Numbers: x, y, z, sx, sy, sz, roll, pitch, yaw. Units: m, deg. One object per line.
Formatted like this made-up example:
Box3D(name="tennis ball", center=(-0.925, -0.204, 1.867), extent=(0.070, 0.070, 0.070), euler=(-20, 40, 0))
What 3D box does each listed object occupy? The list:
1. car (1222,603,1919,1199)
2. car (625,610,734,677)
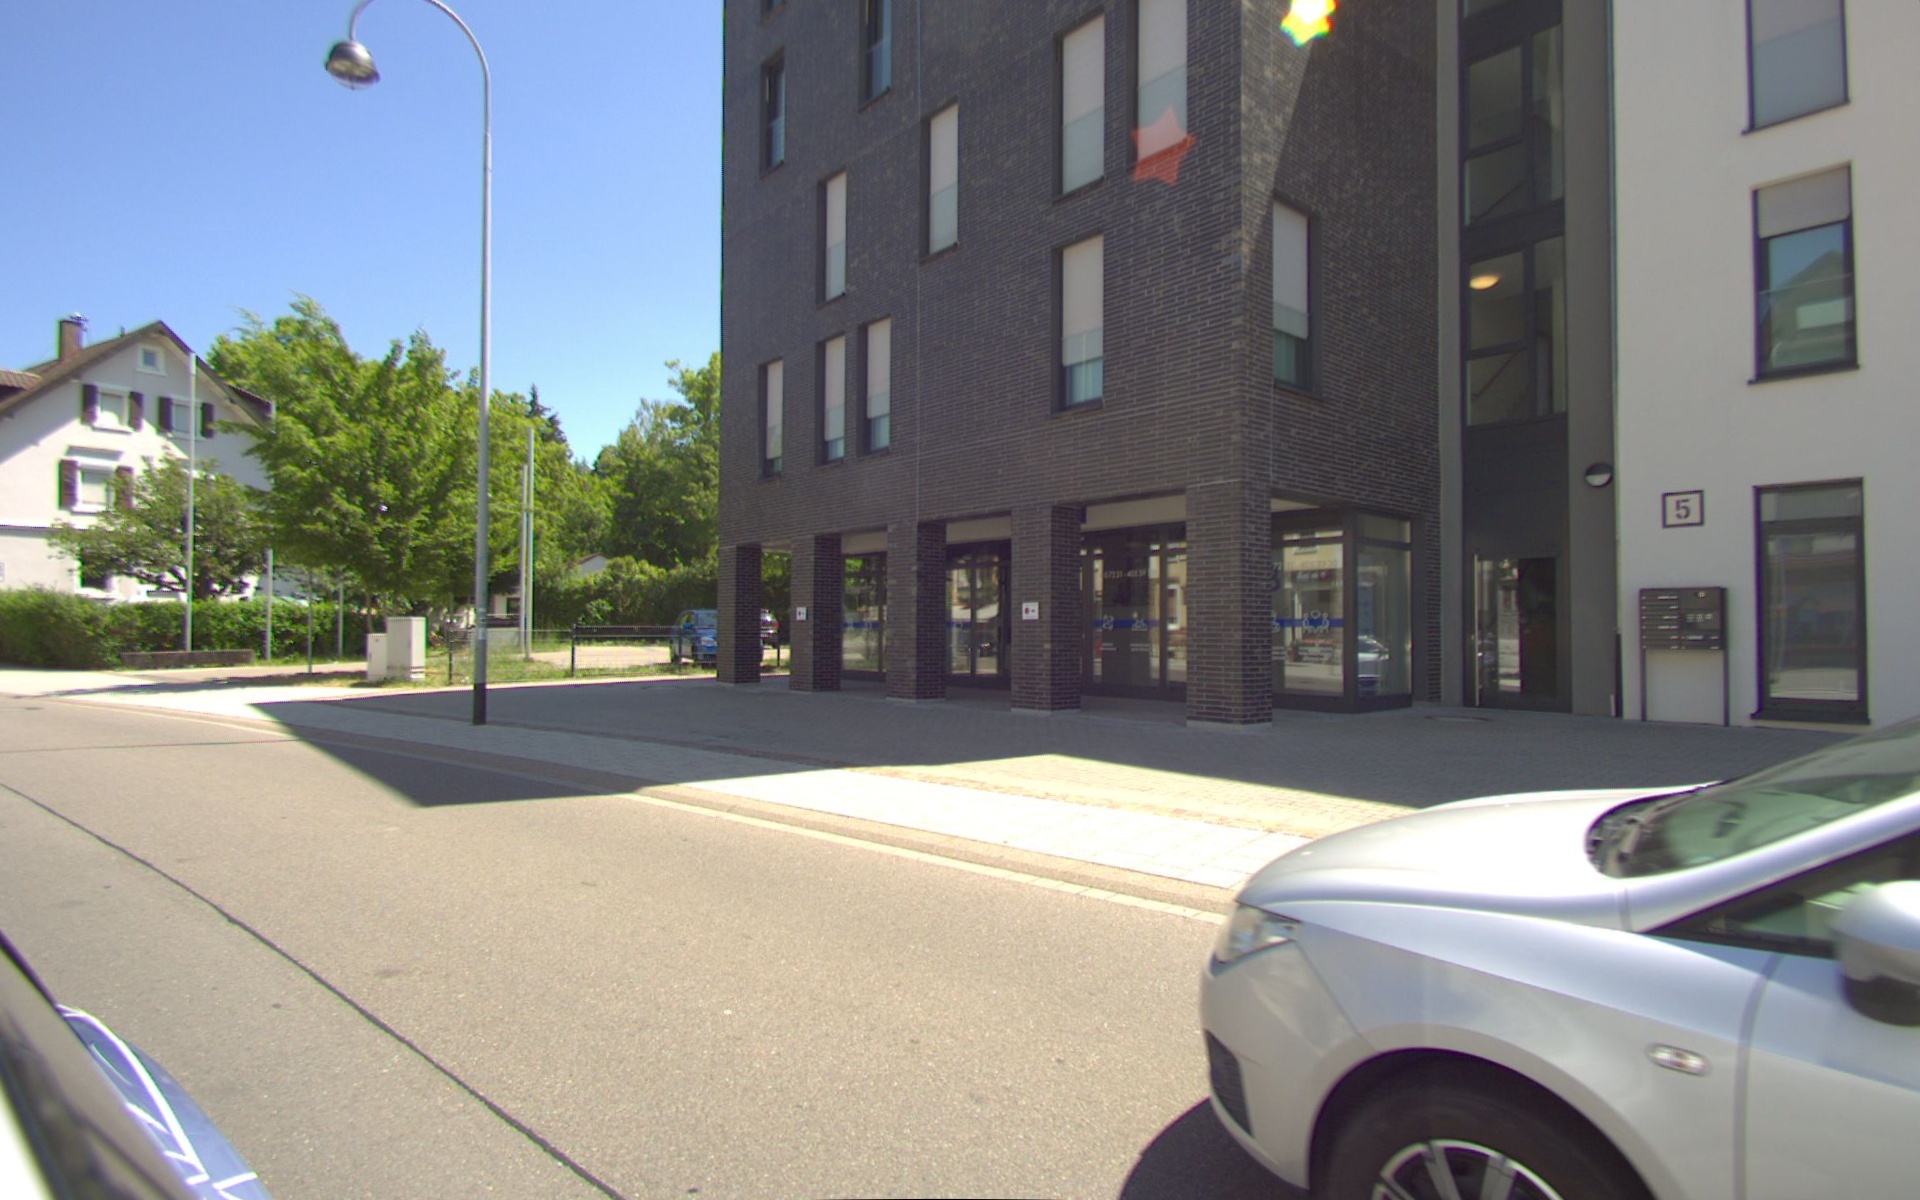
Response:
Box3D(name="car", center=(2.523, 0.703, 1.408), extent=(3.846, 1.407, 1.649), euler=(-2, -1, 42))
Box3D(name="car", center=(-6.983, 1.026, 24.923), extent=(1.670, 1.497, 4.092), euler=(1, -2, -29))
